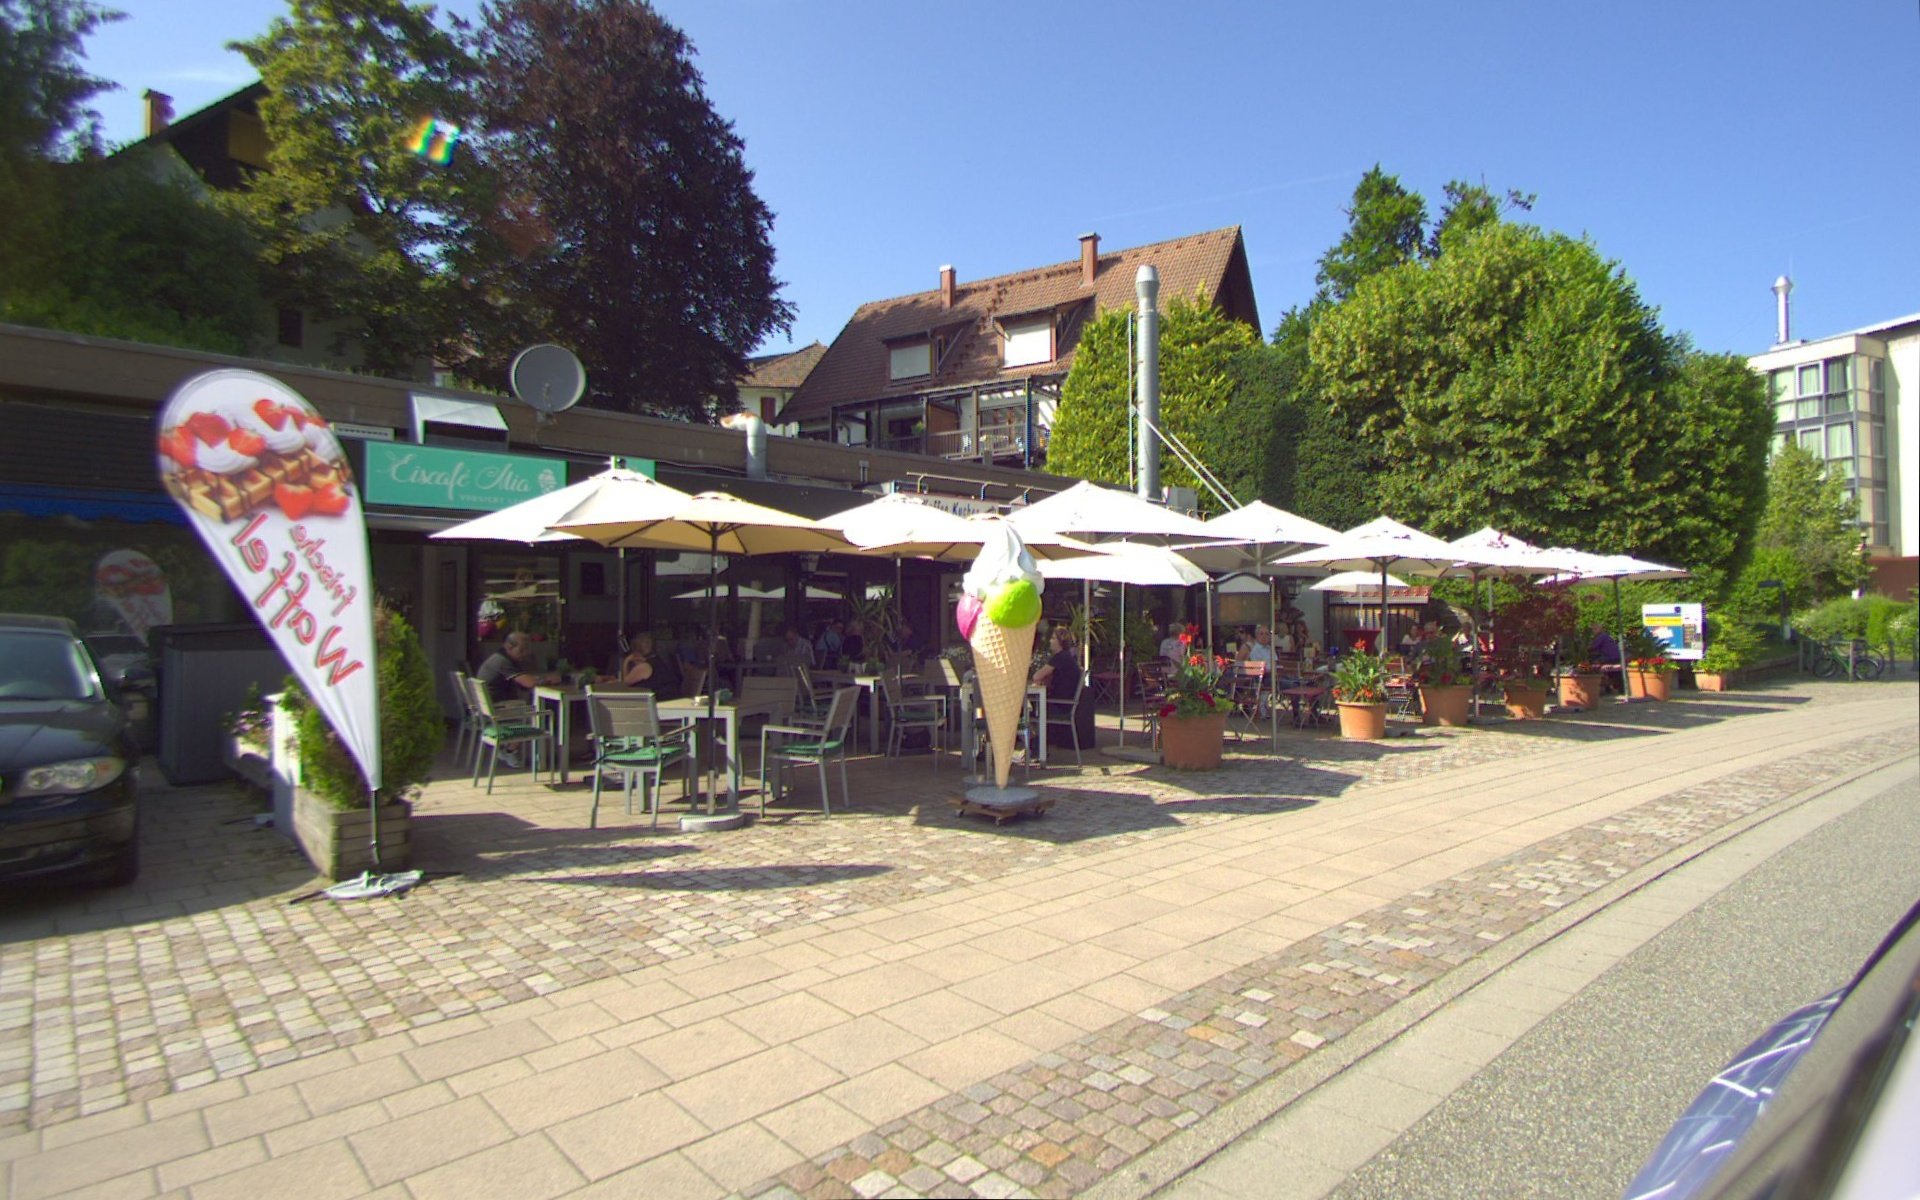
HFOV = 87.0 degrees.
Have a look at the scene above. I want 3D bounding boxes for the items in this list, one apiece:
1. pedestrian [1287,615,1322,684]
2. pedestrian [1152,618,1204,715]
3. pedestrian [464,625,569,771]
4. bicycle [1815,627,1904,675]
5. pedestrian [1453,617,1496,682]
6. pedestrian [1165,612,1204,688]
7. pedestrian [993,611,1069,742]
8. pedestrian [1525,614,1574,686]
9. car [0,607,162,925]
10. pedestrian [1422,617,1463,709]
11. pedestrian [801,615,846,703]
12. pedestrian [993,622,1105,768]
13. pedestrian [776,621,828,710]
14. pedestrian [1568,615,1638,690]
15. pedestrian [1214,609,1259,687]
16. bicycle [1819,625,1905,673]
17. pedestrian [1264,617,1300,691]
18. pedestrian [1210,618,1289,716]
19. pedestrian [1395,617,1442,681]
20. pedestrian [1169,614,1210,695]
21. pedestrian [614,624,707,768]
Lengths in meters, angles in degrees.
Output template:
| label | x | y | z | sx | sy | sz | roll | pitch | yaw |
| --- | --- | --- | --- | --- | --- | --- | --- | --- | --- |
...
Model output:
| label | x | y | z | sx | sy | sz | roll | pitch | yaw |
| --- | --- | --- | --- | --- | --- | --- | --- | --- | --- |
| pedestrian | 6.569 | 0.933 | 19.302 | 0.498 | 1.284 | 0.409 | 1 | 0 | -32 |
| pedestrian | 3.022 | 0.899 | 14.060 | 0.690 | 1.277 | 0.809 | 0 | -1 | 12 |
| pedestrian | -4.103 | 0.875 | 9.407 | 0.795 | 1.277 | 0.702 | 1 | -1 | -16 |
| bicycle | 19.674 | 1.105 | 22.170 | 0.376 | 0.920 | 1.551 | 2 | 1 | -9 |
| pedestrian | 10.174 | 0.967 | 20.024 | 0.585 | 1.253 | 0.507 | 1 | 0 | 7 |
| pedestrian | 3.945 | 0.862 | 17.800 | 0.628 | 1.298 | 0.578 | 1 | 0 | 11 |
| pedestrian | 0.808 | 0.835 | 11.403 | 0.691 | 1.399 | 0.808 | 0 | -1 | 17 |
| pedestrian | 11.104 | 0.928 | 19.069 | 0.634 | 1.300 | 0.648 | 1 | 0 | -44 |
| car | -5.884 | 0.752 | 5.930 | 1.680 | 1.396 | 4.268 | 0 | 0 | -41 |
| pedestrian | 6.960 | 0.894 | 14.601 | 0.469 | 1.261 | 0.587 | 1 | 0 | 31 |
| pedestrian | -2.096 | 0.895 | 15.591 | 0.625 | 1.316 | 0.688 | 1 | -1 | -3 |
| pedestrian | 0.838 | 0.855 | 9.544 | 0.808 | 1.277 | 0.690 | 0 | -1 | 39 |
| pedestrian | -2.258 | 0.913 | 14.422 | 0.686 | 1.224 | 0.689 | 1 | -1 | -11 |
| pedestrian | 11.664 | 0.929 | 18.361 | 0.634 | 1.300 | 0.949 | 1 | 0 | -44 |
| pedestrian | 4.840 | 0.823 | 17.696 | 0.529 | 1.321 | 0.599 | 1 | 0 | 45 |
| bicycle | 20.494 | 1.094 | 23.029 | 0.376 | 0.995 | 1.551 | 2 | 1 | -9 |
| pedestrian | 5.739 | 0.945 | 18.032 | 0.468 | 1.281 | 0.433 | 1 | -1 | 44 |
| pedestrian | 3.962 | 0.891 | 13.885 | 0.686 | 1.277 | 0.814 | 1 | -1 | -24 |
| pedestrian | 9.201 | 0.968 | 20.323 | 0.685 | 1.247 | 0.509 | 1 | 0 | -23 |
| pedestrian | 3.843 | 0.898 | 16.969 | 0.628 | 1.321 | 0.578 | 1 | 0 | 11 |
| pedestrian | -2.831 | 0.879 | 9.586 | 0.795 | 1.277 | 0.702 | 1 | -1 | -16 |
